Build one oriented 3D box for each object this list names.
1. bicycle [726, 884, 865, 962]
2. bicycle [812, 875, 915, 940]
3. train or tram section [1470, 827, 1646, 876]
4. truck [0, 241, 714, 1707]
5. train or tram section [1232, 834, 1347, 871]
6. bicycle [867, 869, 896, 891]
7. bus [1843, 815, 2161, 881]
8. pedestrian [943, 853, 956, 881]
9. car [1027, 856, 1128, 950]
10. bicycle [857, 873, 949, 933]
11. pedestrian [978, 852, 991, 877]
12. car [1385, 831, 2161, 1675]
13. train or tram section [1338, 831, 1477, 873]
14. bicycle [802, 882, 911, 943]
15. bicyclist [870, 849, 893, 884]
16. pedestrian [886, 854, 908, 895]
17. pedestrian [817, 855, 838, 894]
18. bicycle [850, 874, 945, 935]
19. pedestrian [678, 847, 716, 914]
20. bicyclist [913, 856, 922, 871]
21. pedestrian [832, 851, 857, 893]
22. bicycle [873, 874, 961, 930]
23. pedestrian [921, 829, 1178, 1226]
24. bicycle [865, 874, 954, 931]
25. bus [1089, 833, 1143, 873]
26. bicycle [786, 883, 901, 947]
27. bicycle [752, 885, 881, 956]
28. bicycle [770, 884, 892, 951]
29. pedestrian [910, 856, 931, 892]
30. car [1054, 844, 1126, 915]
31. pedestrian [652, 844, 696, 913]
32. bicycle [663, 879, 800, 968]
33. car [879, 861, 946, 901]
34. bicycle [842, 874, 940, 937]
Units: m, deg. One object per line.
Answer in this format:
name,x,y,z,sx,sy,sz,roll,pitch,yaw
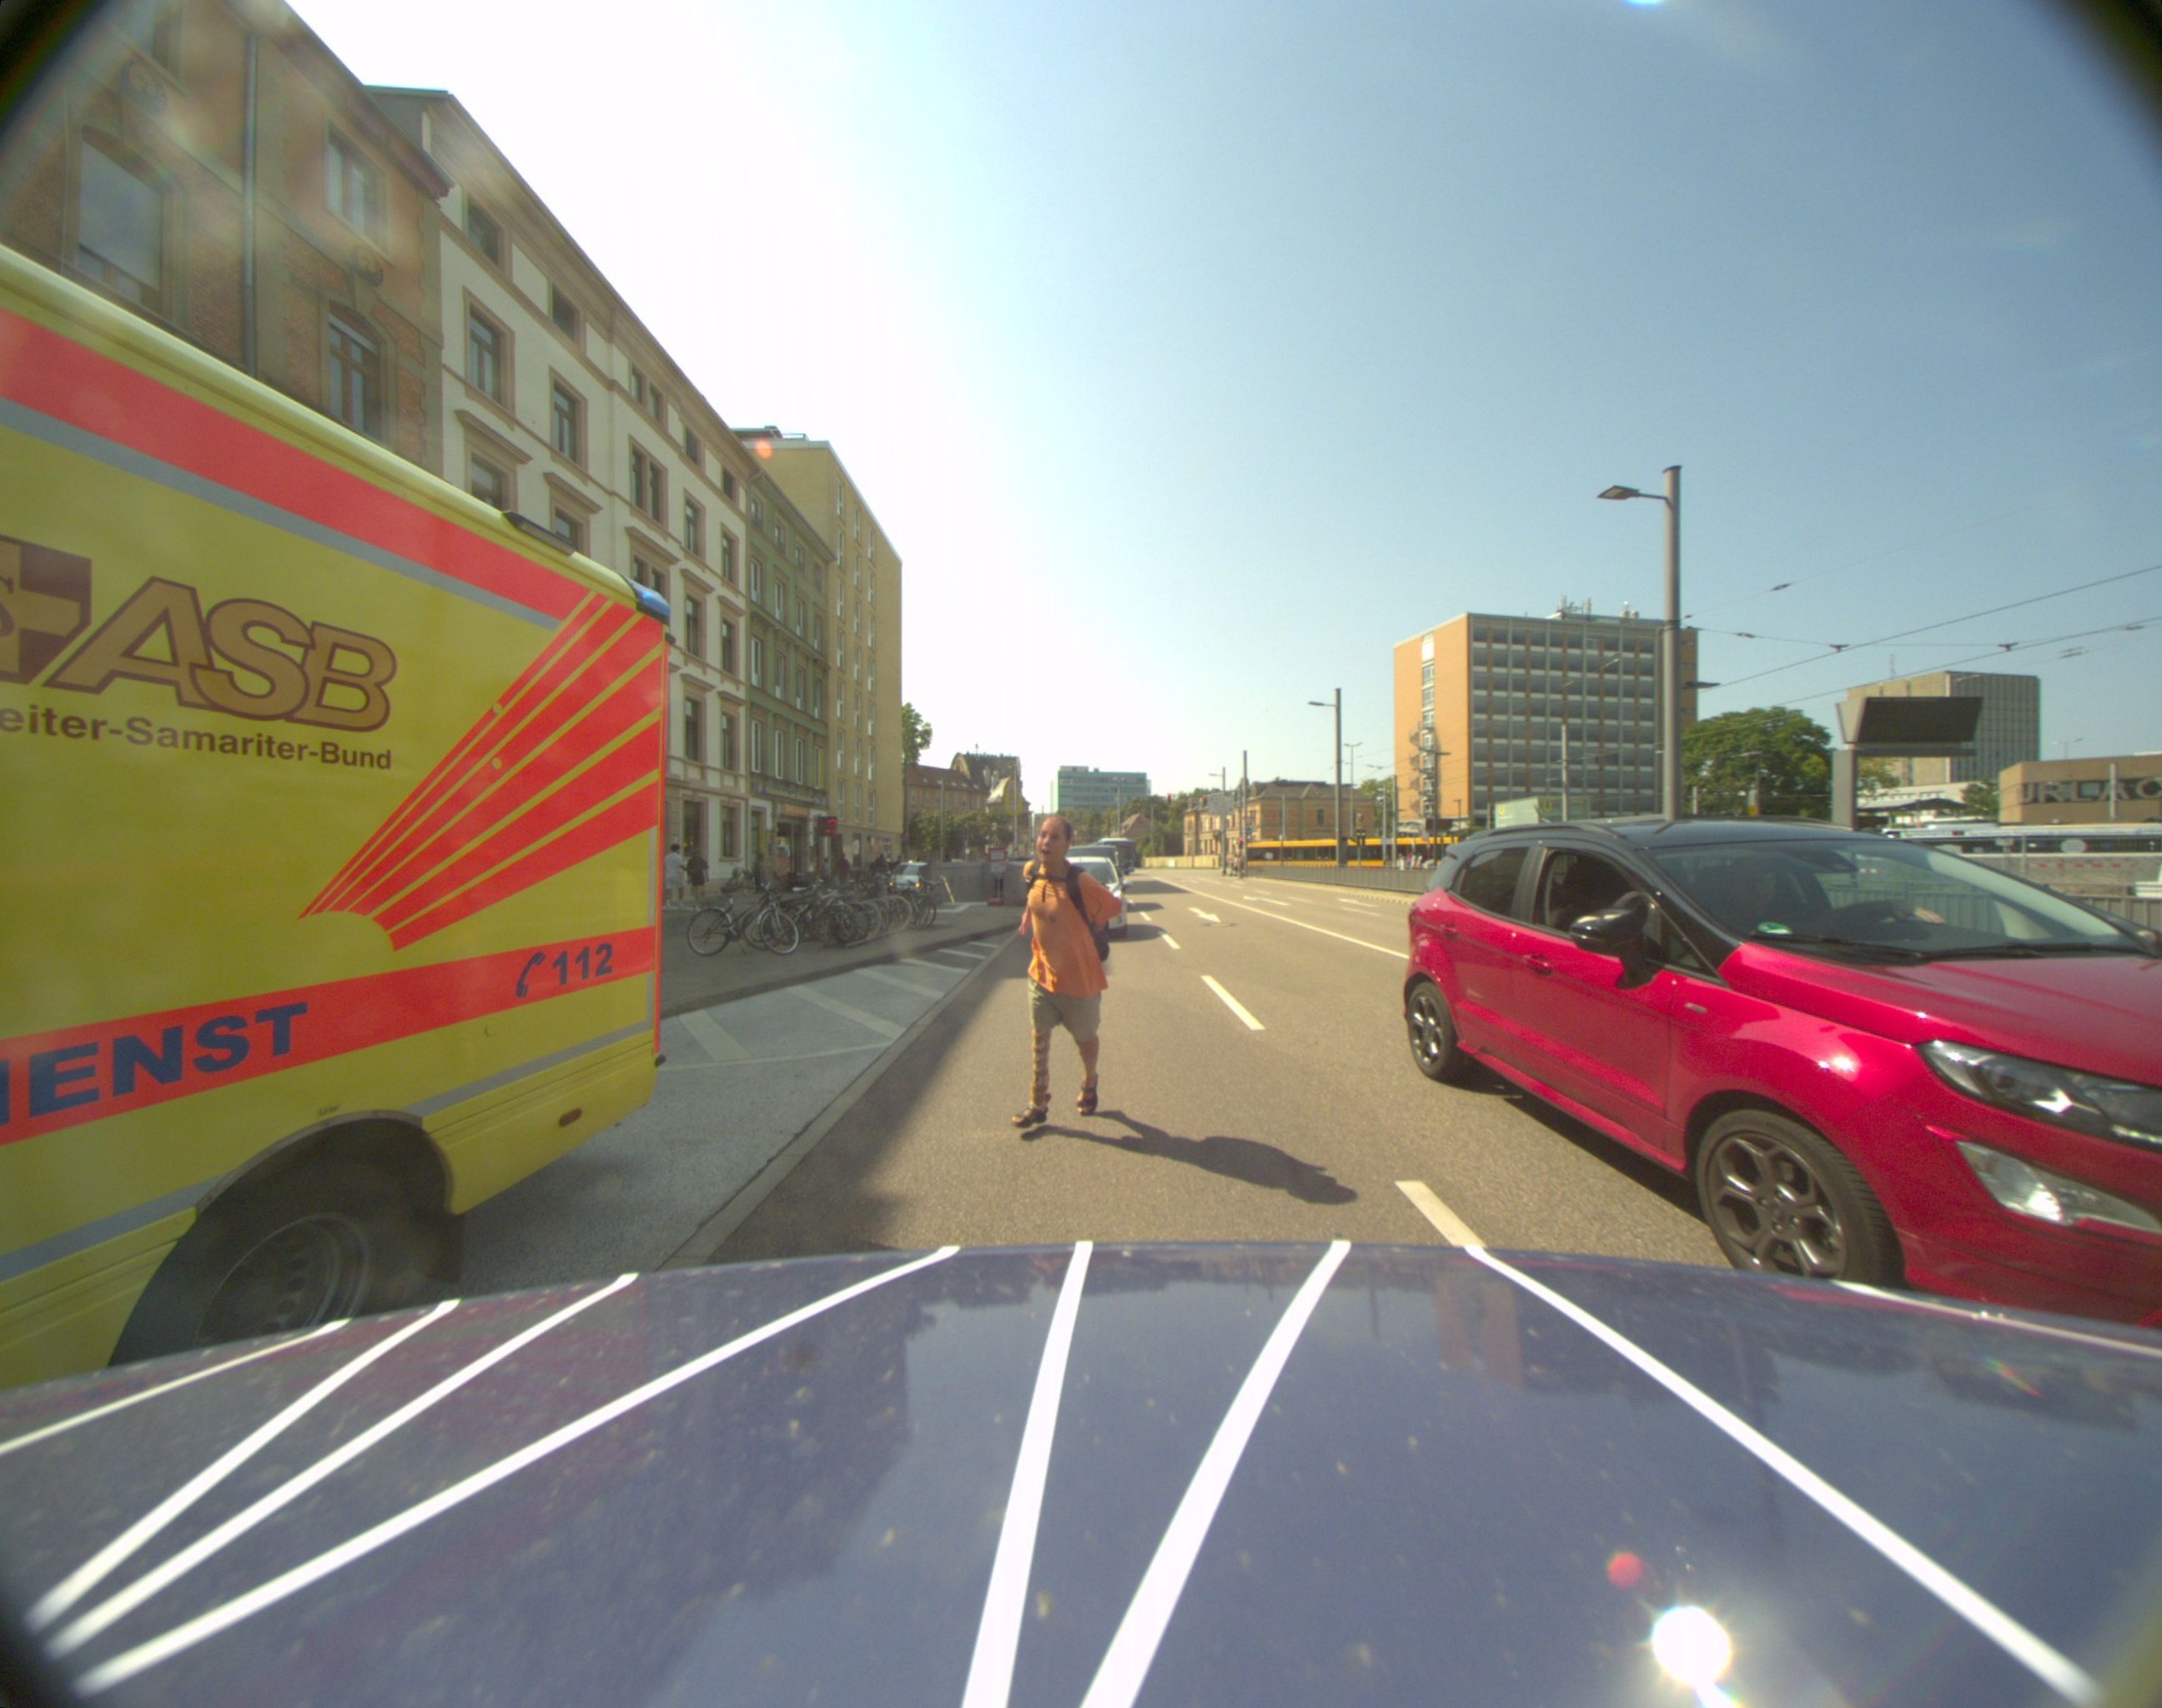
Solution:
bicycle,-4.286,1.029,11.489,1.807,1.069,0.699,-2,0,0
bicycle,-4.295,1.046,15.038,1.841,1.196,0.549,-2,1,1
train or tram section,39.532,-0.188,63.655,12.331,3.743,2.004,0,0,45
truck,-3.164,0.266,0.550,2.333,2.754,6.339,2,0,4
train or tram section,21.935,-0.145,80.946,12.331,3.743,2.004,0,0,45
bicycle,-9.017,1.169,34.412,0.721,0.948,2.001,0,0,1
bus,51.775,-0.244,42.155,13.371,3.275,3.357,-2,0,45
pedestrian,-7.777,0.755,45.015,0.645,1.619,0.796,1,0,-2
car,-0.032,0.880,15.537,1.728,1.579,4.000,-3,0,1
bicycle,-3.814,1.047,16.338,1.841,1.212,0.434,-2,1,1
pedestrian,-6.345,0.706,50.016,0.645,1.619,0.797,1,0,12
car,2.927,0.747,3.360,1.634,1.611,3.968,-2,0,1
train or tram section,30.730,-0.151,72.306,12.331,3.743,2.004,0,0,45
bicycle,-4.236,1.103,14.419,1.841,1.050,0.657,-2,0,1
bicyclist,-9.028,0.561,34.400,0.721,1.577,1.103,0,0,1
pedestrian,-7.968,0.896,32.914,0.688,1.748,0.797,1,0,8
pedestrian,-10.751,0.846,32.231,0.645,1.619,0.796,1,0,-1
bicycle,-3.823,1.045,15.877,1.841,1.196,0.434,-2,1,1
pedestrian,-10.268,0.702,20.328,0.645,1.761,0.796,1,0,-4
bicyclist,-21.282,1.186,98.750,0.857,1.891,0.665,-2,1,33
pedestrian,-9.997,0.754,32.144,0.772,1.724,0.881,1,0,-2
bicycle,-3.733,1.083,17.417,1.841,1.196,0.637,-2,0,1
pedestrian,-0.093,0.758,4.044,0.965,1.730,1.241,0,0,19
bicycle,-3.790,1.068,16.817,1.841,1.196,0.434,-2,1,1
bus,2.876,-0.080,66.578,2.921,3.119,12.338,-2,0,-5
bicycle,-4.261,1.085,13.728,1.841,1.054,0.657,-2,0,1
bicycle,-4.275,1.064,12.363,1.841,1.054,0.657,-2,0,1
bicycle,-4.266,1.083,13.062,1.841,1.047,0.657,-2,0,1
pedestrian,-7.353,0.895,34.838,0.644,1.619,0.798,1,0,16
car,0.284,0.710,23.917,1.998,1.953,4.815,-1,0,1
pedestrian,-10.939,0.647,20.447,0.727,1.793,0.928,1,0,-3
bicycle,-4.977,0.977,10.896,1.607,1.178,0.690,-2,0,2
car,-6.669,1.017,30.437,1.666,1.418,3.934,2,0,1
bicycle,-3.845,1.042,15.441,1.841,1.196,0.434,-2,1,1
